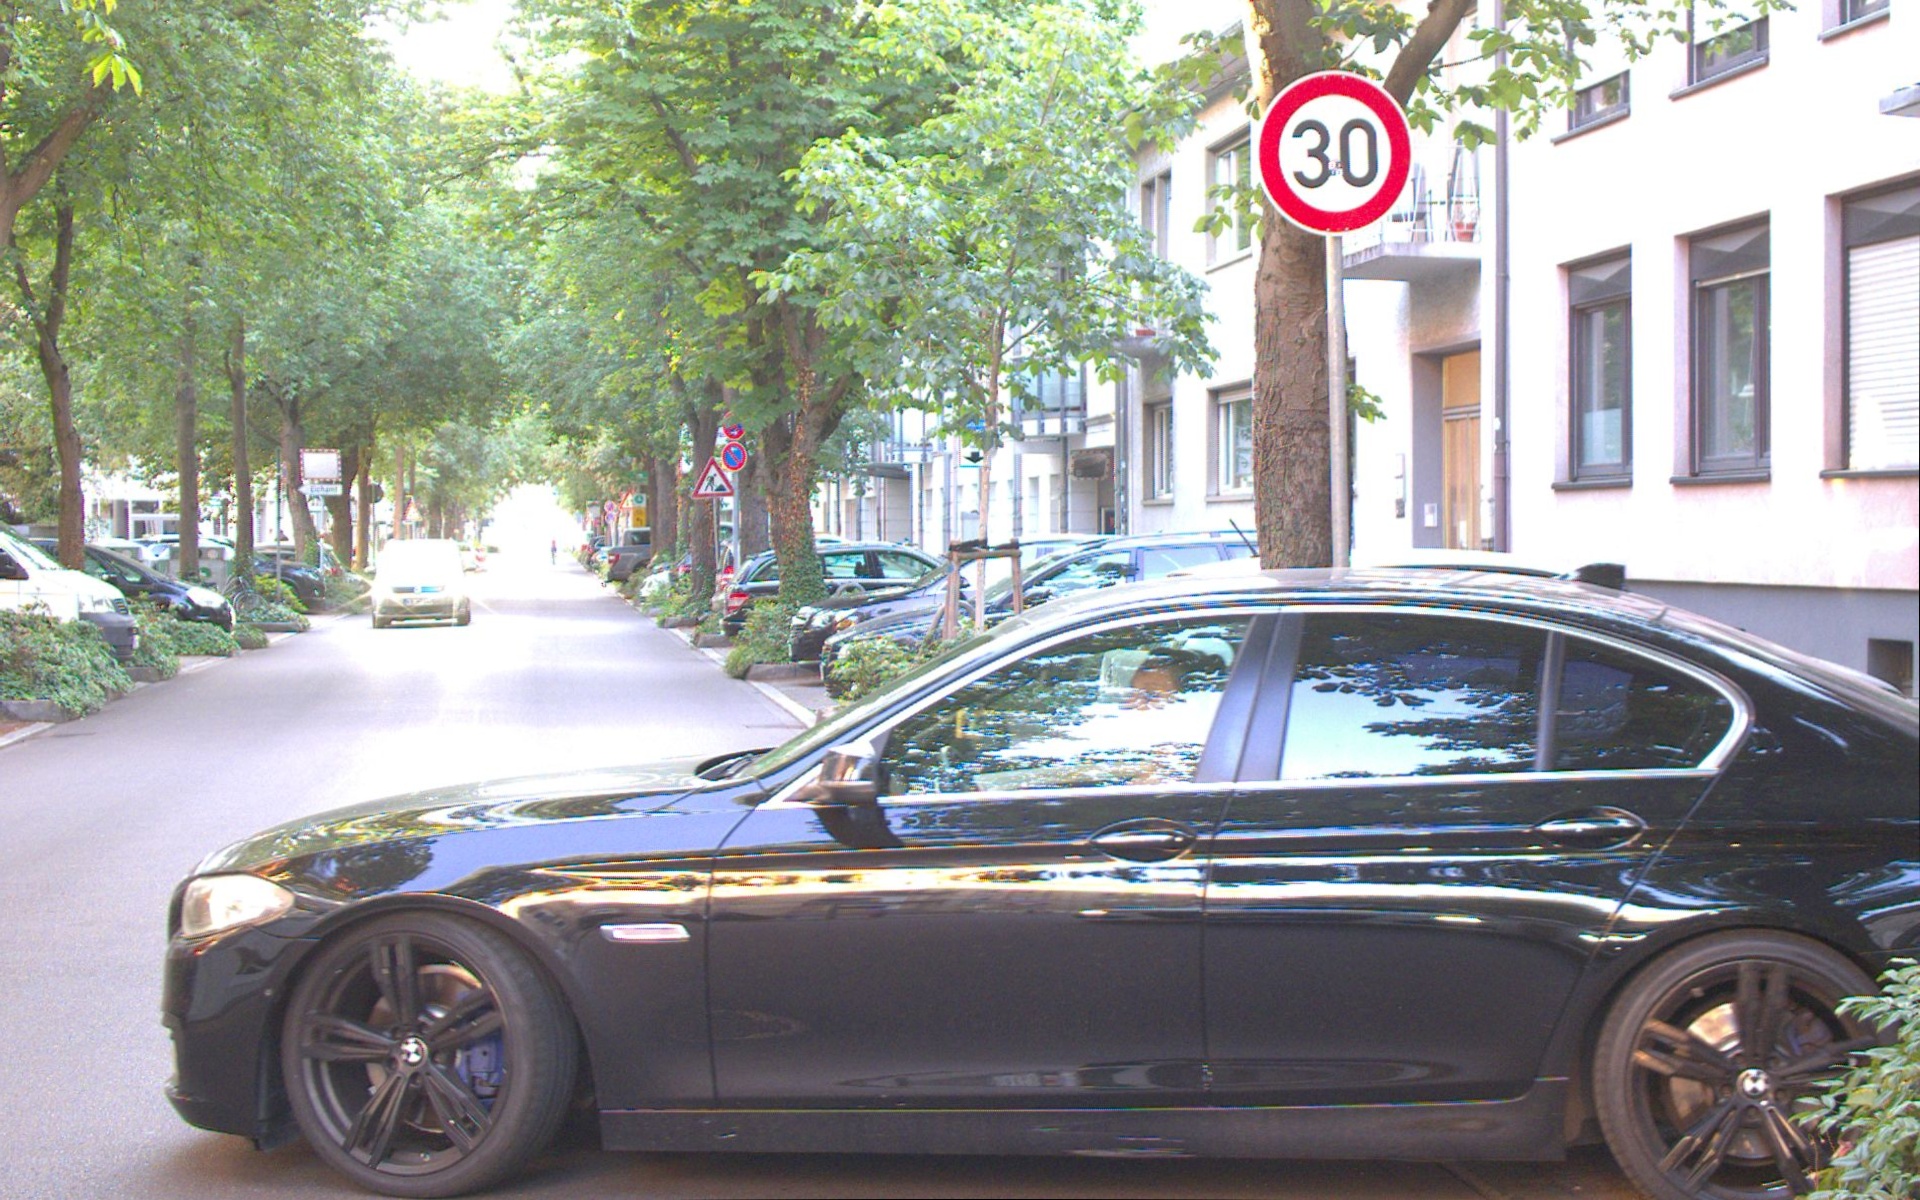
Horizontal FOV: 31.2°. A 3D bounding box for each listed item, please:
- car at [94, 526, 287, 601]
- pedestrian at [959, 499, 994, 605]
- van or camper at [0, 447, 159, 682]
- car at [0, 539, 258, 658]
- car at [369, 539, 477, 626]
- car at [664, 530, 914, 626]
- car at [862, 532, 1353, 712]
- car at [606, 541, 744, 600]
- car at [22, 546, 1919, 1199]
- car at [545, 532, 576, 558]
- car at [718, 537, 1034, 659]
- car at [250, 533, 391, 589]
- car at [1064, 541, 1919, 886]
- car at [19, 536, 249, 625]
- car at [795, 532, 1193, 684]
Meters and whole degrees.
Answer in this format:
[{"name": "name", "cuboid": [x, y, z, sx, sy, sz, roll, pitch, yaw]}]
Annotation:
[{"name": "car", "cuboid": [-17.010, -0.820, 76.122, 3.967, 1.614, 1.785, 0, 1, -5]}, {"name": "pedestrian", "cuboid": [0.312, -0.925, 65.658, 0.589, 2.007, 0.669, -1, 1, -5]}, {"name": "van or camper", "cuboid": [-11.129, -0.381, 37.042, 4.662, 2.470, 2.000, 0, 1, -7]}, {"name": "car", "cuboid": [-11.926, -0.035, 48.040, 3.967, 1.614, 1.785, 0, 1, -6]}, {"name": "car", "cuboid": [-10.023, -0.360, 64.416, 1.779, 1.557, 4.169, 0, 1, -6]}, {"name": "car", "cuboid": [-2.849, -0.380, 56.821, 3.967, 1.522, 1.785, -1, 1, -8]}, {"name": "car", "cuboid": [1.232, 0.161, 29.674, 3.967, 1.471, 1.785, -1, 1, -8]}, {"name": "car", "cuboid": [-8.355, -0.882, 100.773, 3.967, 1.678, 1.785, 0, 1, -5]}, {"name": "car", "cuboid": [0.369, 0.619, 8.301, 4.746, 1.475, 1.800, 0, 1, 6]}, {"name": "car", "cuboid": [-24.308, -3.375, 209.222, 1.822, 1.525, 4.001, -1, 1, -6]}, {"name": "car", "cuboid": [-1.133, -0.050, 44.958, 3.967, 1.522, 1.785, -1, 1, -7]}, {"name": "car", "cuboid": [-18.987, -1.165, 102.255, 3.967, 1.614, 1.785, 0, 1, -5]}, {"name": "car", "cuboid": [2.562, 0.475, 16.073, 3.908, 1.471, 1.665, -1, 1, -8]}, {"name": "car", "cuboid": [-15.466, -0.378, 64.505, 3.967, 1.614, 1.785, 0, 1, -5]}, {"name": "car", "cuboid": [0.320, 0.062, 36.147, 3.967, 1.522, 1.785, -1, 1, -7]}]
